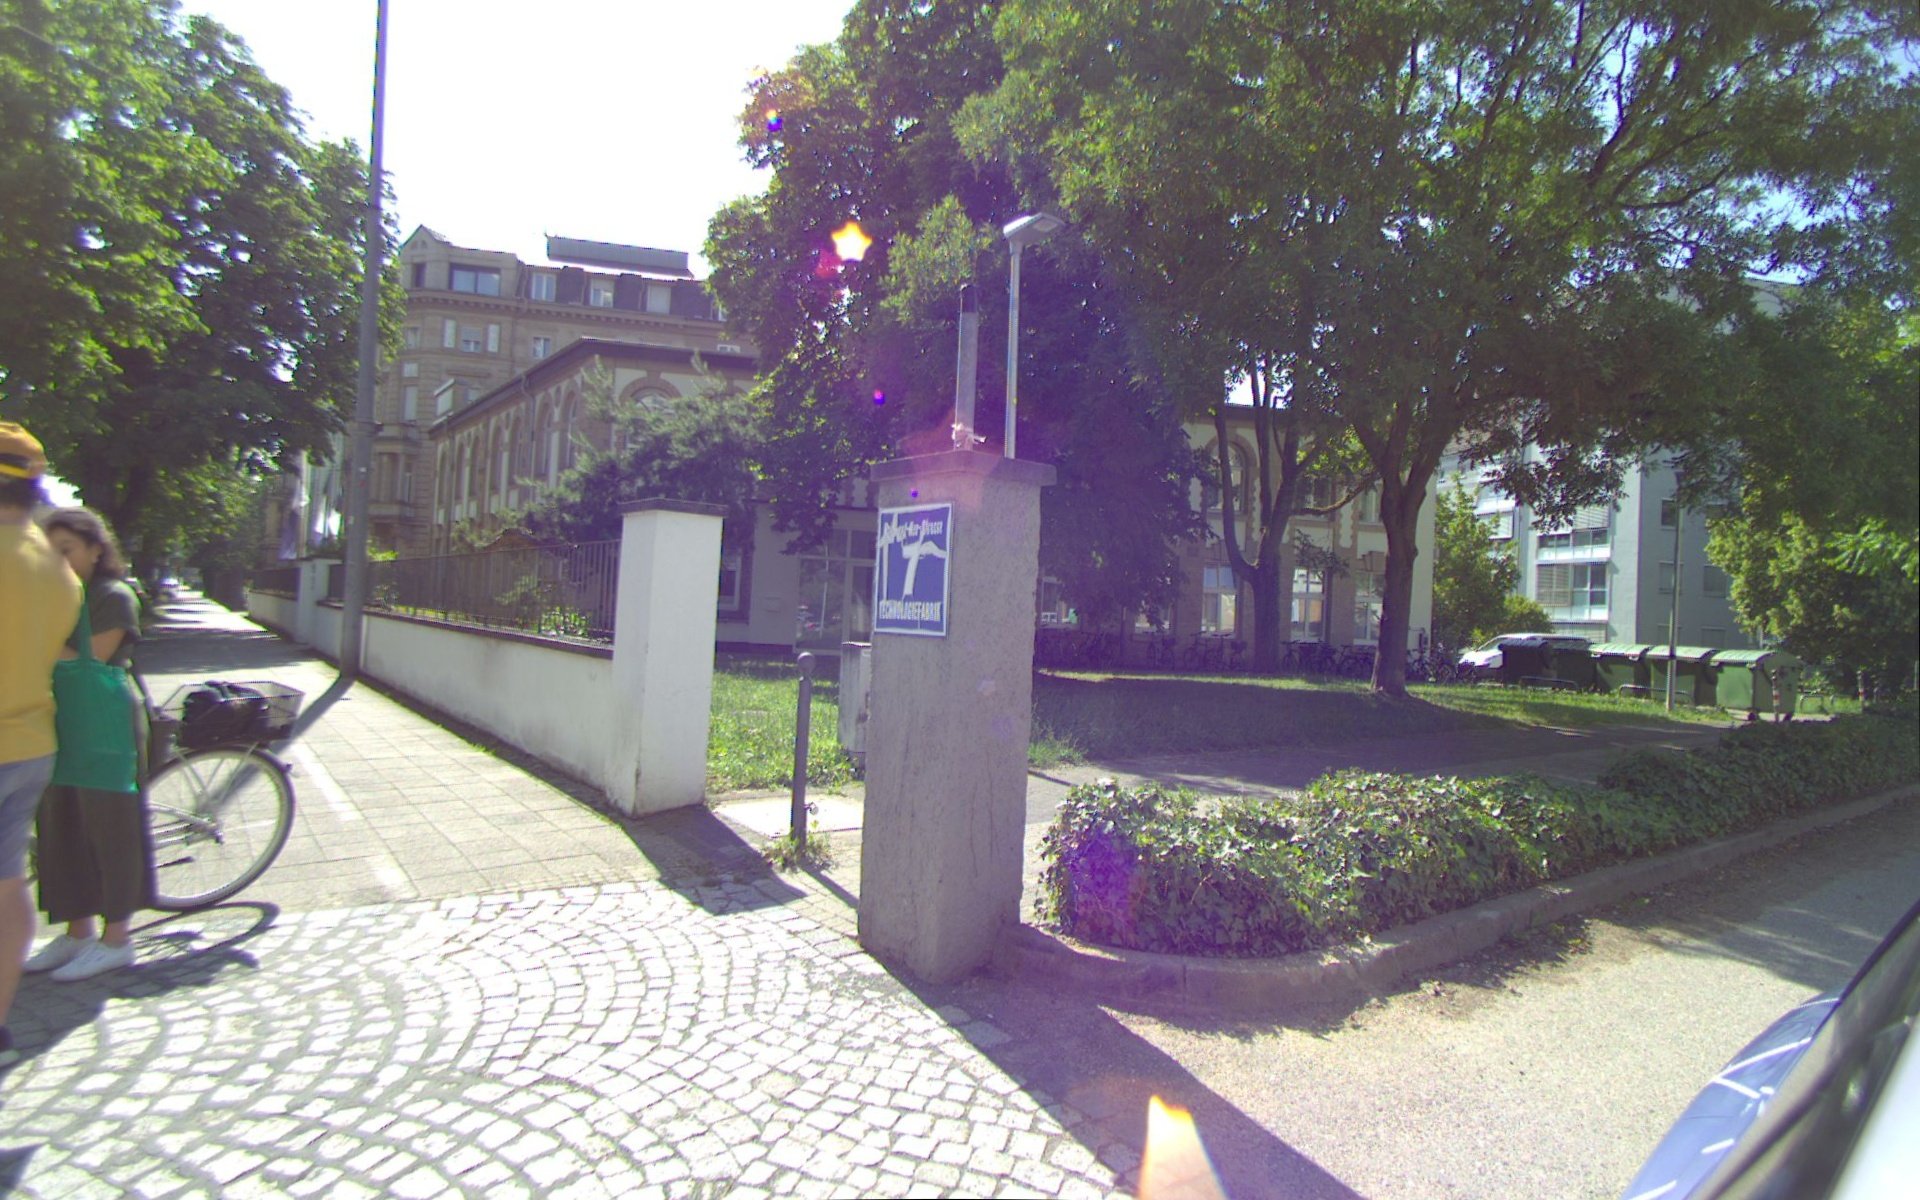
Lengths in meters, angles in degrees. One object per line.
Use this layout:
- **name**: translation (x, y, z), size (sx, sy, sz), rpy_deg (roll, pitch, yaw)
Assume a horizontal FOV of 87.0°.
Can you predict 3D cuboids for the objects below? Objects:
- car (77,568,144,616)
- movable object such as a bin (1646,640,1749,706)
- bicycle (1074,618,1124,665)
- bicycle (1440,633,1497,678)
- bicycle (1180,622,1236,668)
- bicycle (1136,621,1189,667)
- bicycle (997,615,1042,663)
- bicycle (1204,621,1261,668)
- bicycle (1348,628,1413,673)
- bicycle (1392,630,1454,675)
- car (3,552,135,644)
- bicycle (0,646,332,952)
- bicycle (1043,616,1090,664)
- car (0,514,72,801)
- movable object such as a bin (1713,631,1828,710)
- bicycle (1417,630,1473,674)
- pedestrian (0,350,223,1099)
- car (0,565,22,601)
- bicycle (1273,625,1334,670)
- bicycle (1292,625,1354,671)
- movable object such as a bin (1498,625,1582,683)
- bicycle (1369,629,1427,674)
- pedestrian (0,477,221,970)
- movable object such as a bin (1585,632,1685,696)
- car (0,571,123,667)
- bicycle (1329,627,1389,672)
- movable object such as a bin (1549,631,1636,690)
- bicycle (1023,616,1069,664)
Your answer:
- **car**: translation (-32.775, -0.311, 39.101), size (1.823, 1.701, 3.996), rpy_deg (3, -1, -39)
- **movable object such as a bin**: translation (16.141, 1.585, 22.187), size (1.190, 1.317, 1.358), rpy_deg (3, -1, -16)
- **bicycle**: translation (3.742, 1.101, 27.388), size (0.576, 1.176, 2.106), rpy_deg (3, -1, -13)
- **bicycle**: translation (14.652, 1.579, 29.200), size (0.546, 1.176, 1.946), rpy_deg (2, -1, -3)
- **bicycle**: translation (6.817, 1.212, 27.941), size (0.576, 1.176, 2.106), rpy_deg (3, -1, -13)
- **bicycle**: translation (5.506, 1.179, 27.691), size (0.576, 1.176, 2.106), rpy_deg (3, -1, -13)
- **bicycle**: translation (1.561, 1.010, 26.848), size (0.576, 1.176, 2.106), rpy_deg (3, -1, -13)
- **bicycle**: translation (7.551, 1.215, 28.140), size (0.576, 1.176, 2.106), rpy_deg (3, -1, -13)
- **bicycle**: translation (12.017, 1.420, 29.000), size (0.576, 1.176, 2.106), rpy_deg (3, -1, -13)
- **bicycle**: translation (13.380, 1.503, 29.332), size (0.600, 1.176, 1.854), rpy_deg (3, -1, -13)
- **car**: translation (-18.406, -0.042, 21.064), size (1.823, 1.701, 3.996), rpy_deg (3, -1, -39)
- **bicycle**: translation (-3.347, 0.718, 3.923), size (0.361, 1.054, 1.494), rpy_deg (2, -1, 33)
- **bicycle**: translation (2.839, 1.051, 27.254), size (0.576, 1.176, 2.106), rpy_deg (3, -1, -13)
- **car**: translation (-7.045, 0.307, 6.335), size (1.822, 1.705, 3.999), rpy_deg (3, -1, -37)
- **movable object such as a bin**: translation (16.611, 1.425, 20.785), size (1.192, 1.481, 1.392), rpy_deg (2, -1, -1)
- **bicycle**: translation (14.034, 1.498, 29.318), size (0.496, 1.176, 1.807), rpy_deg (2, -1, -8)
- **pedestrian**: translation (-2.740, 0.308, 2.813), size (0.825, 1.888, 0.842), rpy_deg (1, -2, 37)
- **car**: translation (-41.592, -0.798, 43.201), size (1.858, 1.426, 4.589), rpy_deg (5, -2, -39)
- **bicycle**: translation (9.621, 1.311, 28.451), size (0.576, 1.176, 2.106), rpy_deg (3, -1, -13)
- **bicycle**: translation (10.249, 1.336, 28.647), size (0.576, 1.176, 2.106), rpy_deg (3, -1, -13)
- **movable object such as a bin**: translation (15.296, 1.417, 26.731), size (1.223, 1.427, 1.439), rpy_deg (3, -1, -17)
- **bicycle**: translation (12.569, 1.463, 29.100), size (0.484, 1.176, 1.917), rpy_deg (3, -1, -13)
- **pedestrian**: translation (-3.080, 0.408, 3.676), size (0.419, 1.642, 0.448), rpy_deg (2, -2, 34)
- **movable object such as a bin**: translation (15.762, 1.471, 23.670), size (1.190, 1.379, 1.505), rpy_deg (3, -1, -16)
- **car**: translation (-15.249, 0.270, 16.922), size (1.823, 1.430, 3.996), rpy_deg (3, -1, -39)
- **bicycle**: translation (11.317, 1.392, 28.772), size (0.576, 1.176, 1.925), rpy_deg (3, -1, -13)
- **movable object such as a bin**: translation (15.741, 1.487, 25.218), size (1.190, 1.366, 1.355), rpy_deg (3, -1, -16)
- **bicycle**: translation (2.270, 1.037, 27.001), size (0.576, 1.176, 2.106), rpy_deg (3, -1, -13)
